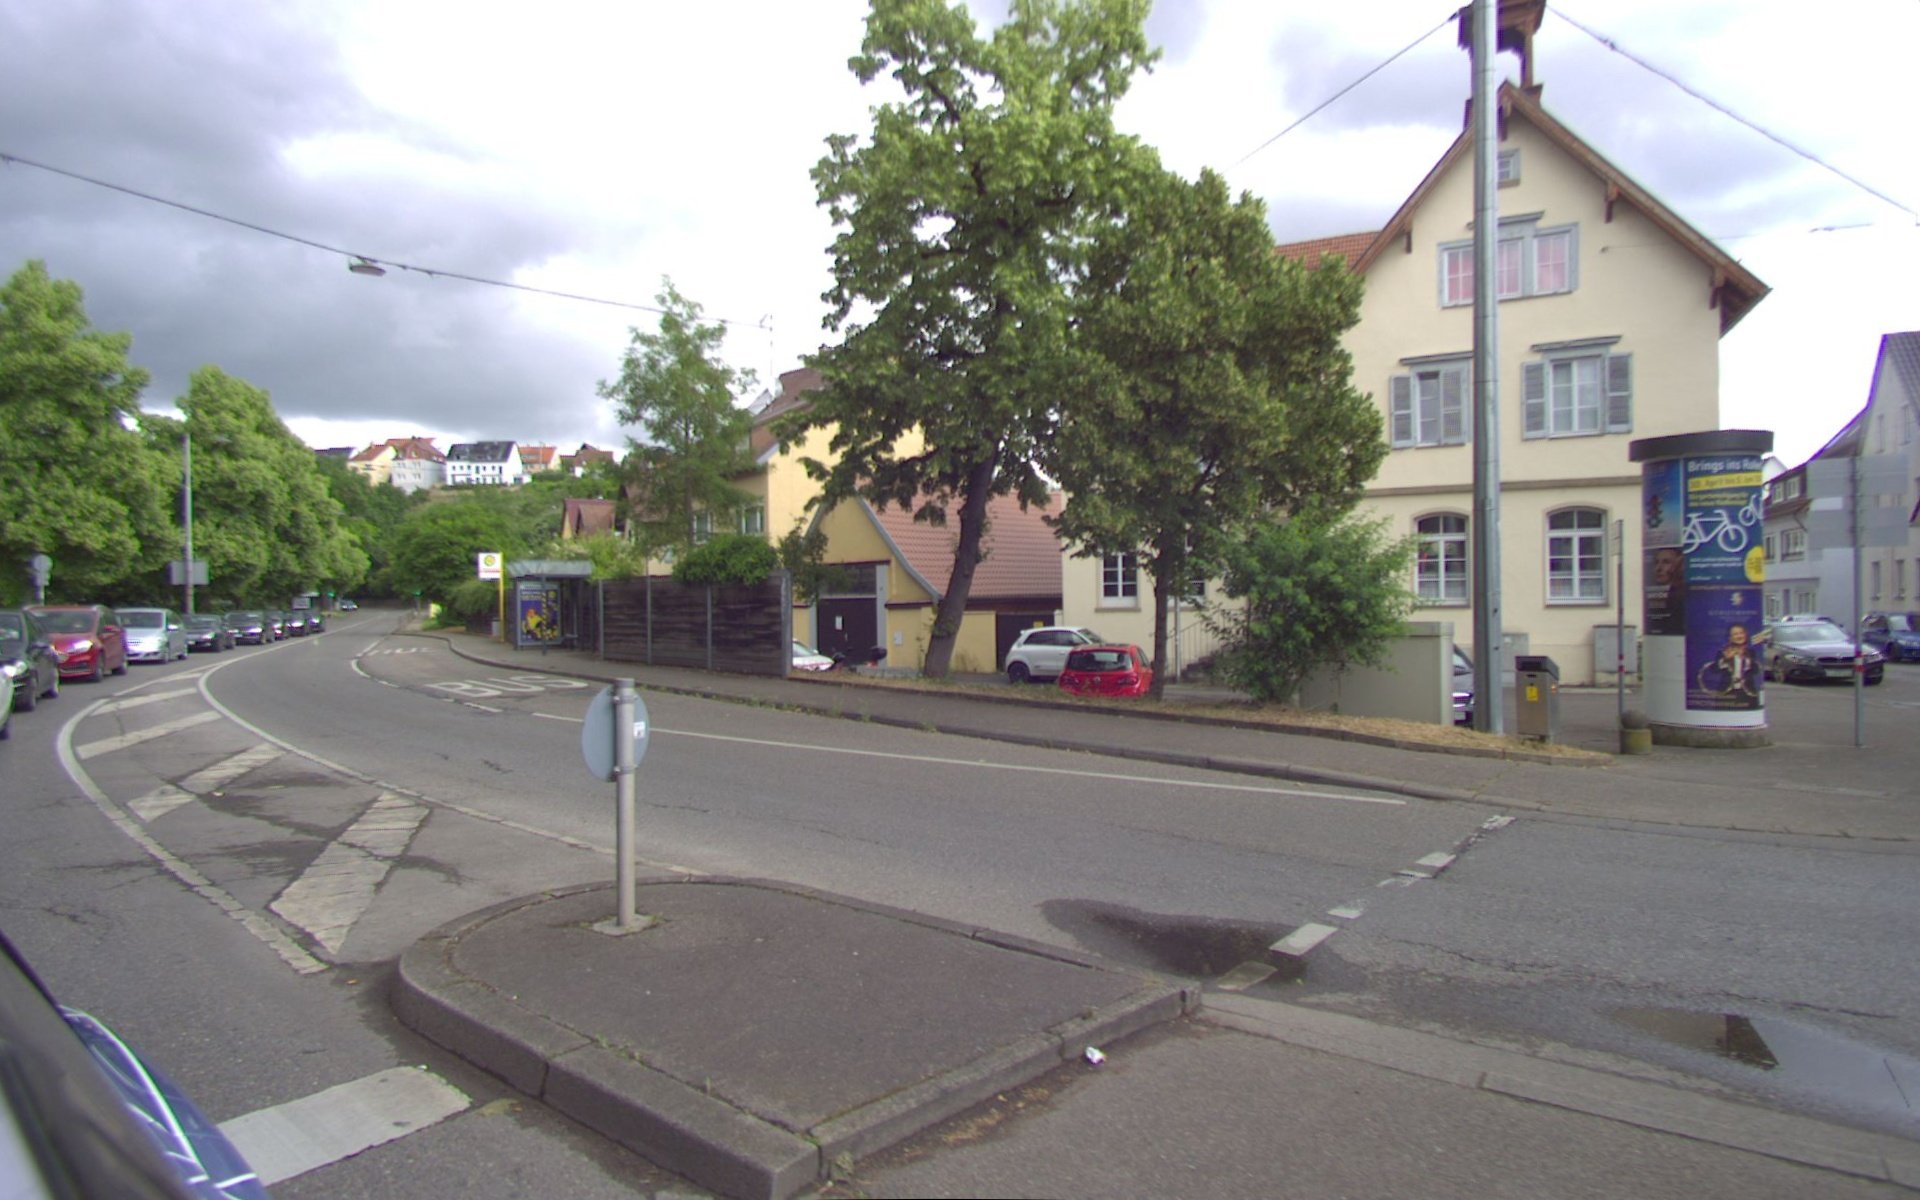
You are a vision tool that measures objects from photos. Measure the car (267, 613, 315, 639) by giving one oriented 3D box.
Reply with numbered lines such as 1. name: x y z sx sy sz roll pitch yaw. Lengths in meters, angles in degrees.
1. car: -35.748 1.364 54.122 1.617 1.278 3.637 0 -1 -25

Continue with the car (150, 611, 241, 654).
1. car: -27.643 1.141 36.726 1.823 1.468 4.013 0 -1 -25

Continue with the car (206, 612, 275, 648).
1. car: -30.508 1.232 43.020 1.668 1.422 3.995 0 -1 -25

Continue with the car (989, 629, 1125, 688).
1. car: 2.696 1.588 28.199 3.459 1.503 1.641 0 -1 23

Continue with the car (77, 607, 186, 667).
1. car: -23.691 1.000 29.074 1.754 1.580 4.012 1 -1 -30

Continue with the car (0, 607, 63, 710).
1. car: -15.895 0.877 16.331 1.703 1.532 4.010 1 -1 -36

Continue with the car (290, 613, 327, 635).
1. car: -38.684 1.410 60.157 1.396 1.259 3.306 0 -1 -25

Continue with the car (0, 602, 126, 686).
1. car: -19.537 0.884 22.011 1.648 1.654 4.112 1 -1 -33

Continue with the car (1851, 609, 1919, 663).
1. car: 28.821 1.058 30.505 1.816 1.526 3.641 0 0 22

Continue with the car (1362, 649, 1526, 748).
1. car: 7.412 1.444 15.800 1.468 1.320 3.387 -1 -2 11

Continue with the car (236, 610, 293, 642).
1. car: -33.600 1.233 48.978 1.678 1.457 3.880 0 -1 -25

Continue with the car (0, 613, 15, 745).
1. car: -11.395 0.906 10.808 1.603 1.520 4.007 1 -1 -39

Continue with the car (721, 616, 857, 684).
1. car: -4.654 1.262 27.166 1.871 1.640 4.007 0 0 -39

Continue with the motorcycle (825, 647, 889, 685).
1. motorcycle: -2.451 1.571 24.202 1.558 0.830 0.419 1 -1 -38

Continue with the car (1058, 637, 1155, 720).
1. car: 2.967 1.471 19.988 1.584 1.363 3.614 0 -1 13
